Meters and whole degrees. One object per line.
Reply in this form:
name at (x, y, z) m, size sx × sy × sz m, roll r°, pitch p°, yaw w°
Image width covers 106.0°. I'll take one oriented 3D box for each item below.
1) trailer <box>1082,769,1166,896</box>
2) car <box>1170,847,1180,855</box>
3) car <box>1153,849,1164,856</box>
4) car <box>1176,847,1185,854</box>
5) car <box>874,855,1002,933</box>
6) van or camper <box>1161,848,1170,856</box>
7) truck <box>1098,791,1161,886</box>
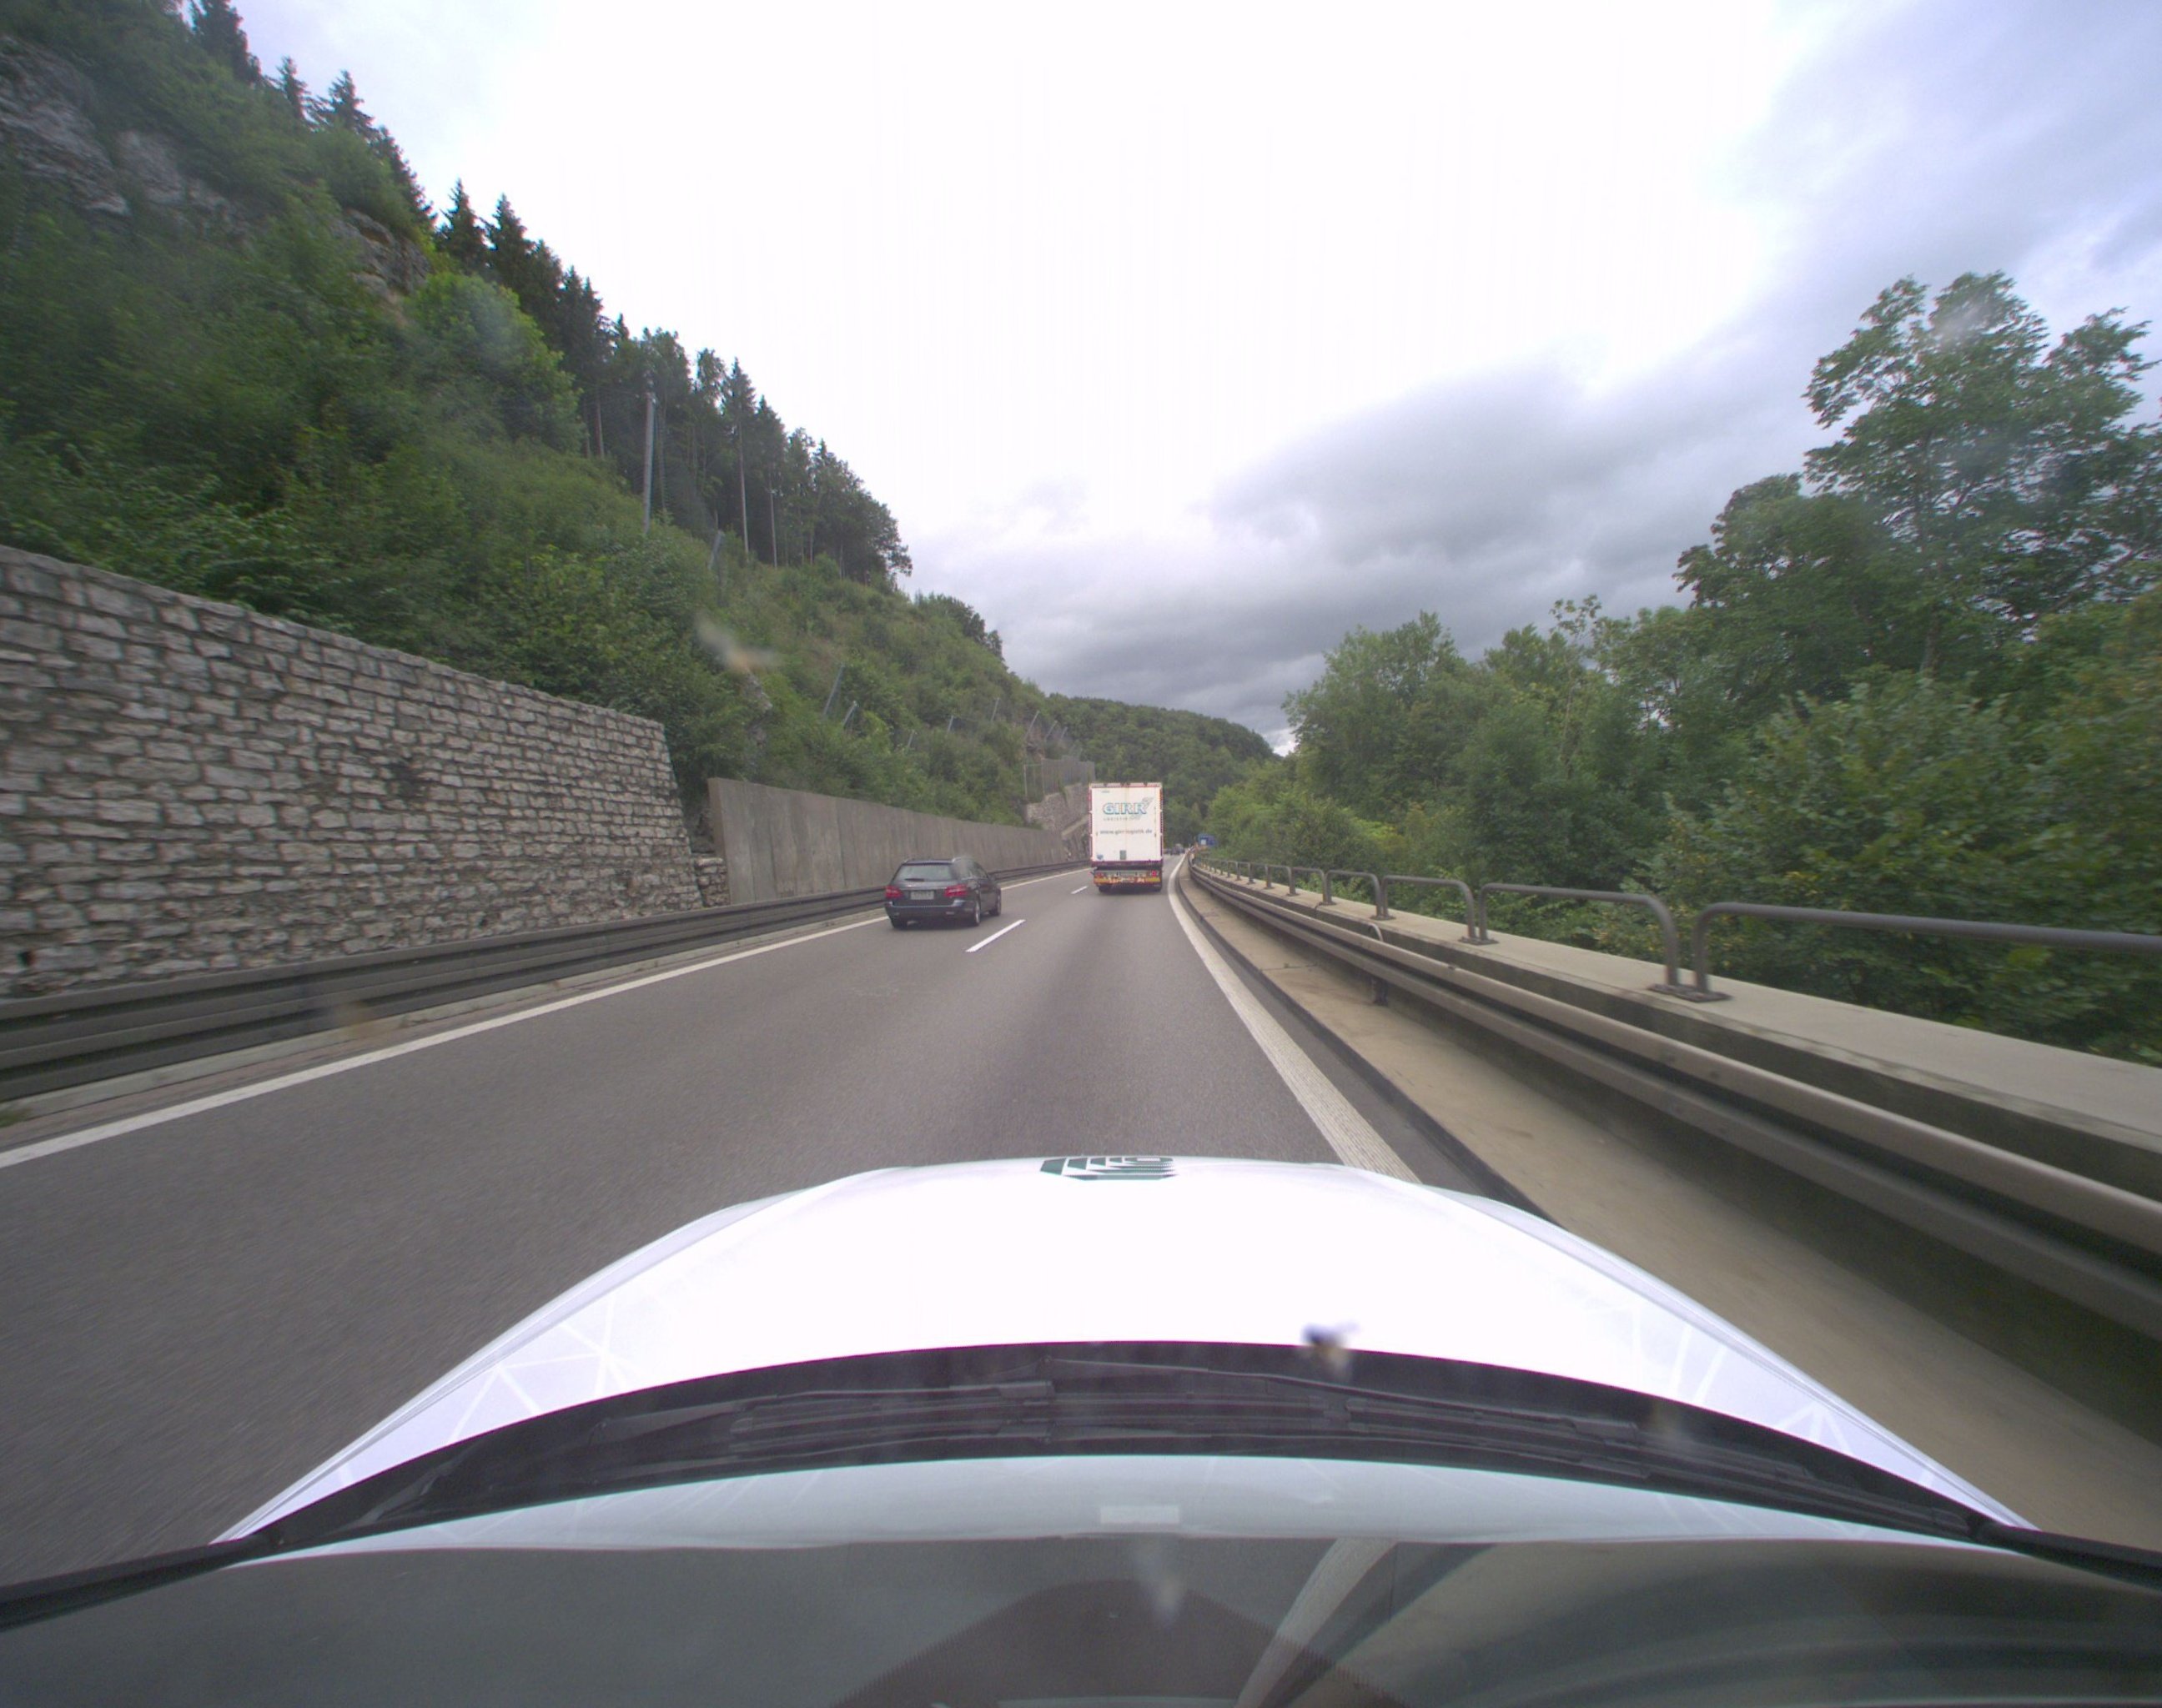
trailer at (1.959, -0.717, 33.950) m, size 2.800 × 4.302 × 12.259 m, roll -1°, pitch 0°, yaw 4°
car at (19.605, -0.665, 170.447) m, size 1.982 × 1.572 × 4.009 m, roll -1°, pitch 0°, yaw 8°
car at (12.339, -0.213, 130.420) m, size 1.509 × 1.113 × 3.681 m, roll -1°, pitch 0°, yaw 2°
car at (26.382, -0.930, 215.904) m, size 1.980 × 1.764 × 4.013 m, roll -1°, pitch 0°, yaw 11°
car at (-3.044, 0.796, 18.266) m, size 1.876 × 1.510 × 4.421 m, roll -1°, pitch 0°, yaw 2°
van or camper at (20.132, -0.439, 194.038) m, size 1.982 × 2.014 × 4.009 m, roll 0°, pitch -1°, yaw 8°
truck at (2.465, -0.701, 40.411) m, size 2.800 × 4.302 × 6.266 m, roll -1°, pitch 0°, yaw 4°
